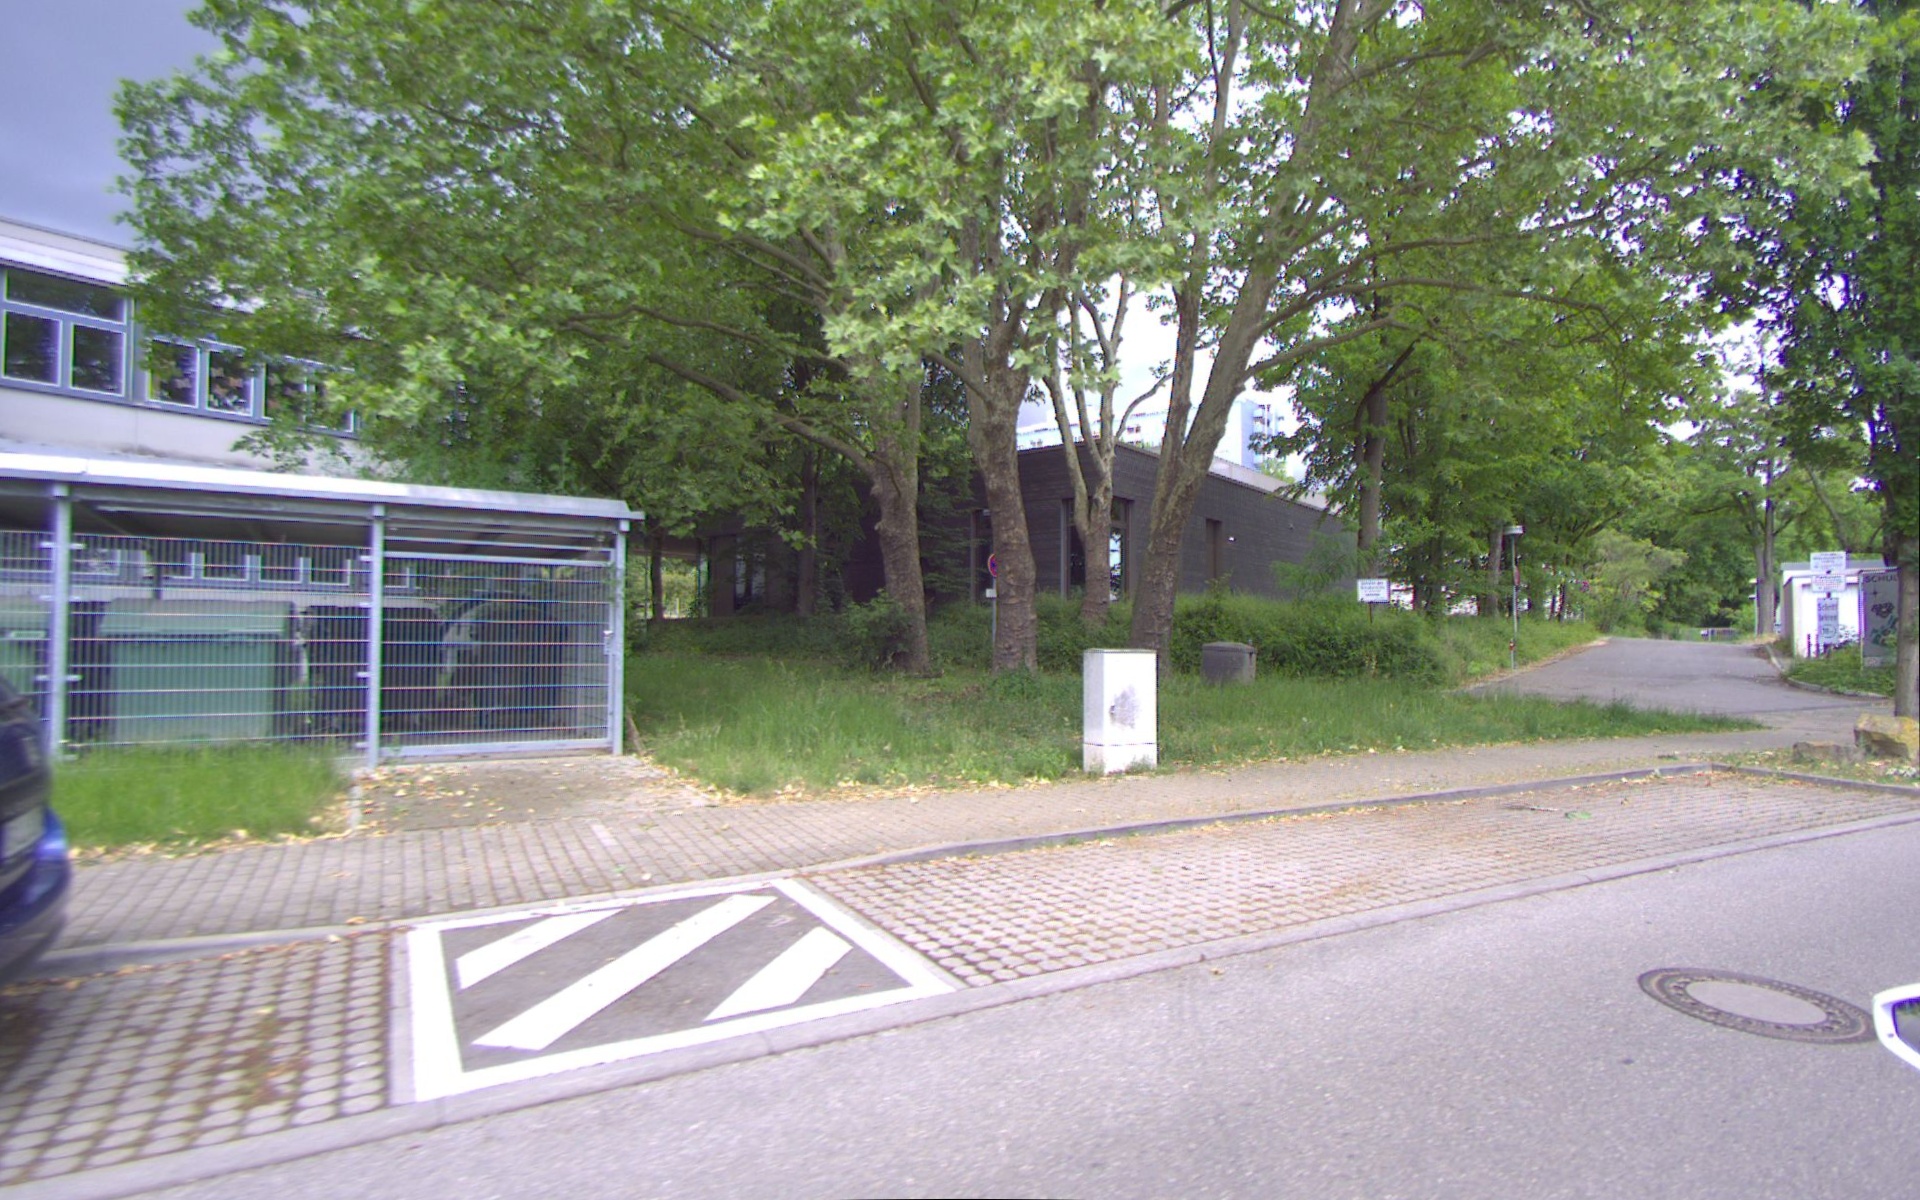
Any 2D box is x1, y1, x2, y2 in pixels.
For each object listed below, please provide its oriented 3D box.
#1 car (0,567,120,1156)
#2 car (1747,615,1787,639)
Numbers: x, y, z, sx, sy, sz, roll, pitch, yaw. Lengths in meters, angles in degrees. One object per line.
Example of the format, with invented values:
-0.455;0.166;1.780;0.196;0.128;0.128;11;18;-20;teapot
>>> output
-4.743;0.650;2.086;4.384;1.531;1.670;1;-2;-33;car
60.071;2.020;74.746;1.853;1.769;3.974;-2;-3;45;car
